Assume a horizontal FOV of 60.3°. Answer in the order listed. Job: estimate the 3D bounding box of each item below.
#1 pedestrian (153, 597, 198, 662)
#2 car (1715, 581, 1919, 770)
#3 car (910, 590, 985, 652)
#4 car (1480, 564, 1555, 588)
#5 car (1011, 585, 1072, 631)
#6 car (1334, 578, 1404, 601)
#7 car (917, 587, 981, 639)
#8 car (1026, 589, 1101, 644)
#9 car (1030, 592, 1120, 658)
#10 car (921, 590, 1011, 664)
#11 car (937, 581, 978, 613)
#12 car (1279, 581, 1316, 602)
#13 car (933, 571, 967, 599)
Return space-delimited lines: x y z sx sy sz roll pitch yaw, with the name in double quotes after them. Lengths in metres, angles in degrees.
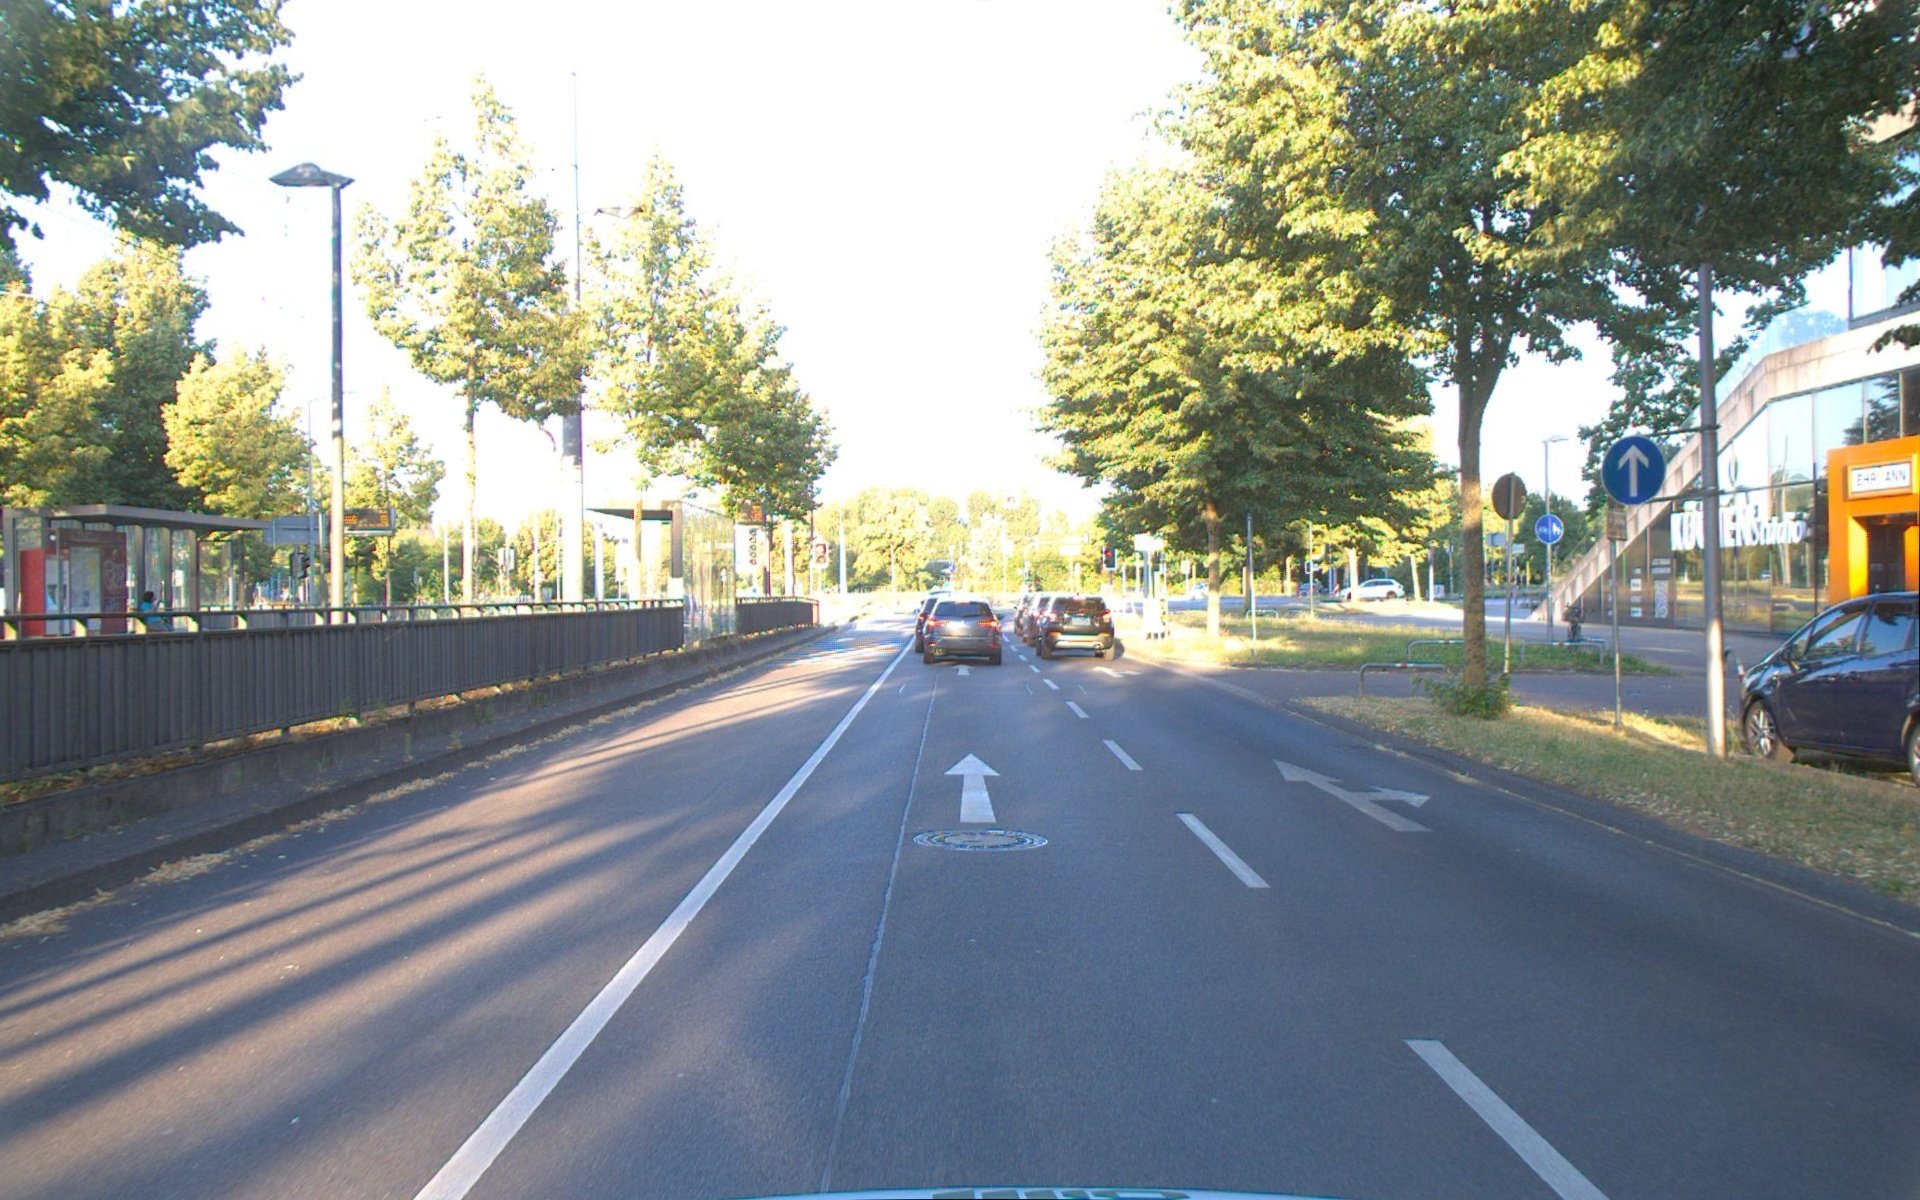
-16.438 0.615 34.658 0.602 1.342 0.744 -1 0 -4 "pedestrian"
8.415 0.586 14.315 1.721 1.491 4.156 -1 0 -3 "car"
-0.347 0.518 43.568 1.873 1.512 3.999 -1 0 -1 "car"
36.292 -1.567 107.757 4.331 1.512 1.920 -1 0 9 "car"
2.812 0.245 57.742 1.873 1.512 3.999 -1 0 -1 "car"
27.429 -0.724 110.872 4.335 1.512 1.918 0 0 22 "car"
-0.352 0.368 50.985 1.873 1.512 3.999 -1 0 -1 "car"
2.984 0.436 48.316 1.873 1.512 3.999 -1 0 -1 "car"
2.788 0.573 40.732 1.873 1.512 3.999 0 0 -1 "car"
0.095 0.557 36.709 1.873 1.512 3.999 -1 0 -1 "car"
-0.147 -0.147 80.184 1.873 1.512 3.999 -1 0 -1 "car"
29.294 -0.766 143.544 1.956 1.758 3.993 -1 0 30 "car"
-0.599 -0.862 94.576 1.873 1.512 3.999 -1 0 -1 "car"
